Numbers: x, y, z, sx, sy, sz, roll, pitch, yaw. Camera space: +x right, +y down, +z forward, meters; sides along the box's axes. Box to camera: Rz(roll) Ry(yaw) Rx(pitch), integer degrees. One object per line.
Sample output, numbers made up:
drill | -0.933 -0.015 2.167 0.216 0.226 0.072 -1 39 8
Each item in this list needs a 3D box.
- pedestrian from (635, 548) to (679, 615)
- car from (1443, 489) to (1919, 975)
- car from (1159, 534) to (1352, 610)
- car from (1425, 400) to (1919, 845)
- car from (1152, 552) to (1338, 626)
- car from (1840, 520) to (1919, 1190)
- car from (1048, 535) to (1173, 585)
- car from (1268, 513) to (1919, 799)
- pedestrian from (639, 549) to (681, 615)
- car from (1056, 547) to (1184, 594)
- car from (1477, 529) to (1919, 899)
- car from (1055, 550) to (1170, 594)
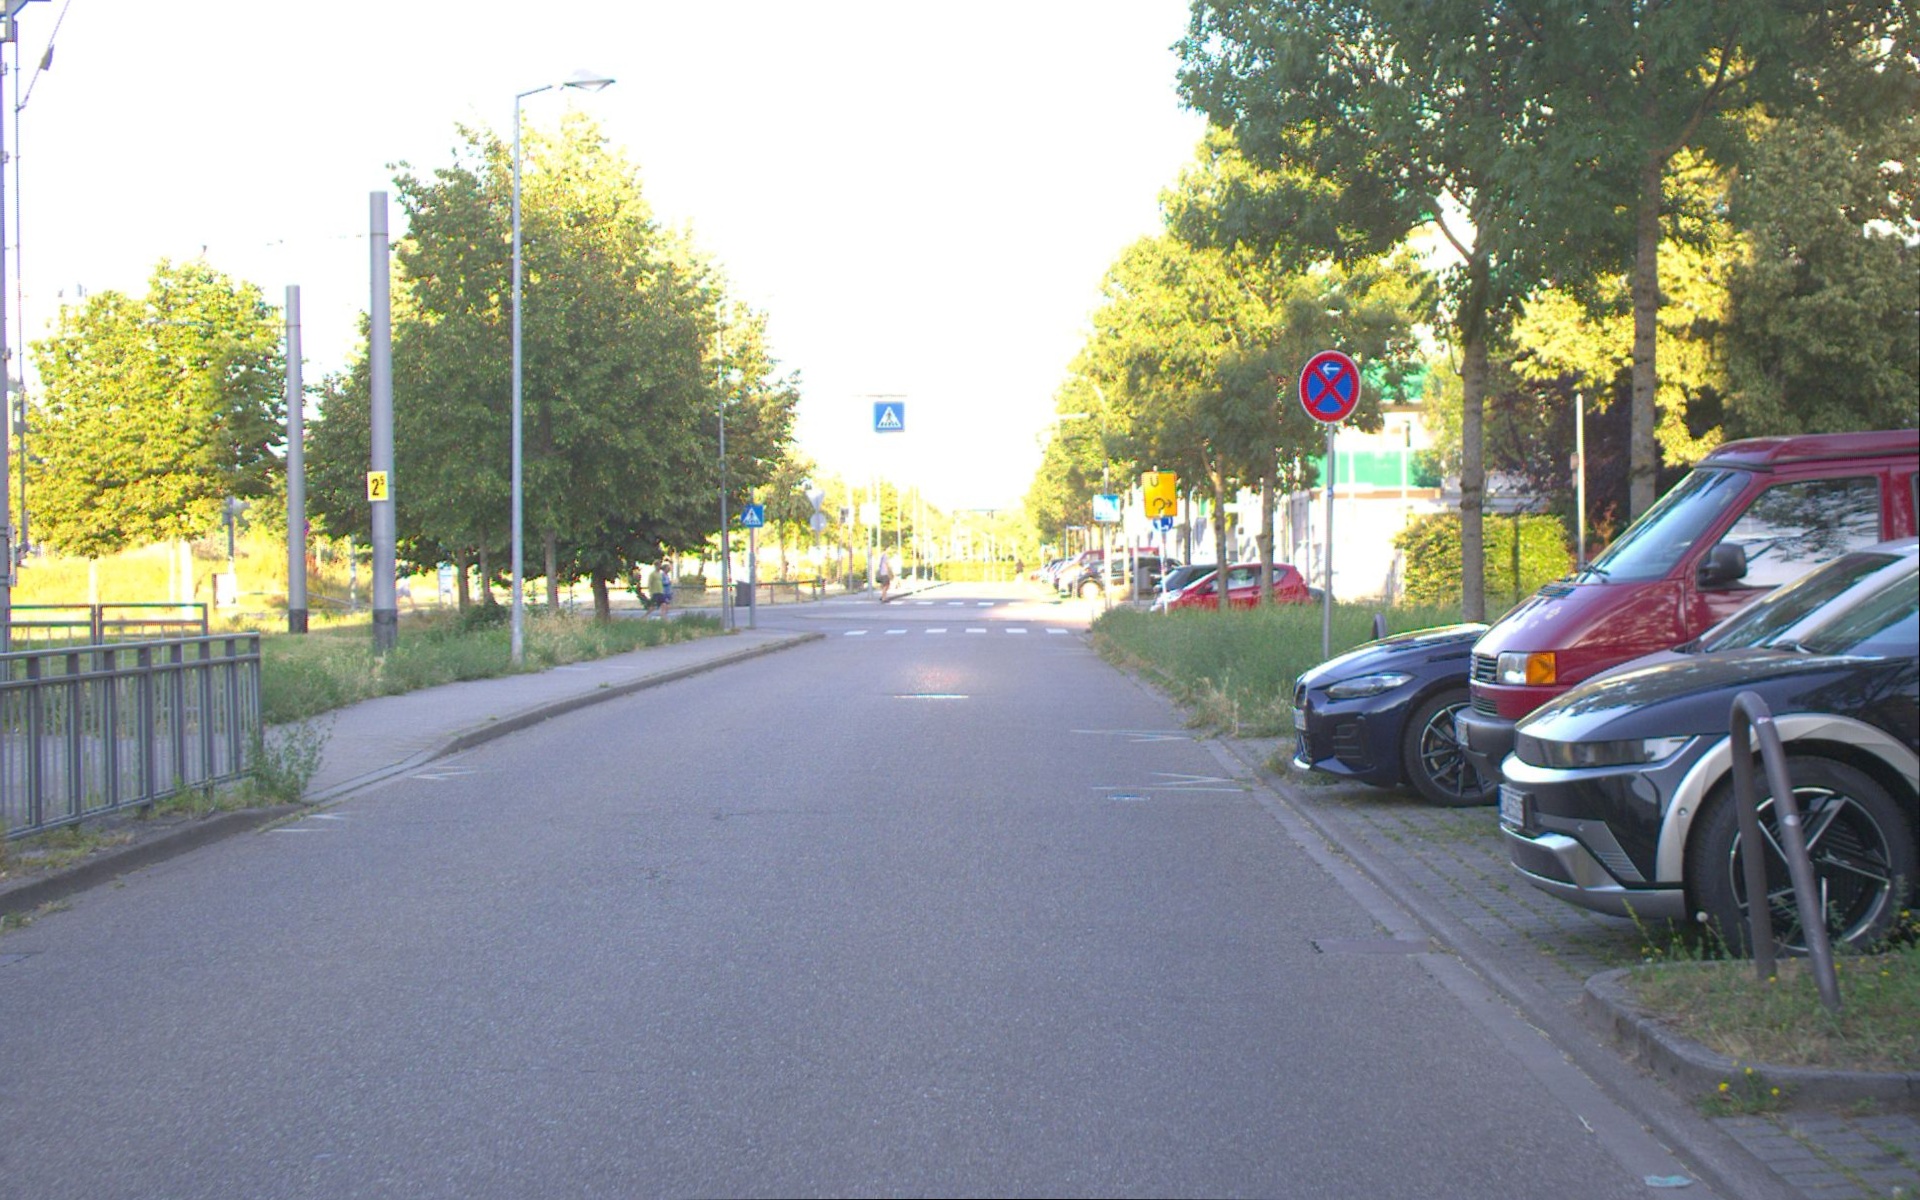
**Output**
pedestrian | -7.792 -0.473 88.313 1.018 1.687 0.760 -1 0 -12
car | 3.982 0.370 12.306 4.215 1.563 1.792 -2 1 1
car | 6.084 -0.587 70.955 3.802 1.503 1.679 -1 1 -1
car | 4.937 0.084 17.419 4.920 2.110 2.017 -1 1 2
car | 6.086 -0.243 73.623 3.802 1.503 1.679 -1 1 -1
car | 4.015 0.557 7.541 3.773 1.490 1.539 0 1 1
car | 6.317 -1.692 144.611 5.002 2.038 2.250 -1 1 -3
car | 4.190 0.292 19.897 4.669 1.551 1.811 -1 1 1
pedestrian | -7.782 -0.461 89.057 0.983 1.687 0.700 -1 1 -12
car | 5.644 -1.054 121.455 4.485 1.590 2.000 -1 1 2
car | 4.161 0.427 15.034 3.525 1.460 1.615 -2 1 1
car | 5.716 -1.047 129.337 4.264 1.590 2.000 -1 1 2
